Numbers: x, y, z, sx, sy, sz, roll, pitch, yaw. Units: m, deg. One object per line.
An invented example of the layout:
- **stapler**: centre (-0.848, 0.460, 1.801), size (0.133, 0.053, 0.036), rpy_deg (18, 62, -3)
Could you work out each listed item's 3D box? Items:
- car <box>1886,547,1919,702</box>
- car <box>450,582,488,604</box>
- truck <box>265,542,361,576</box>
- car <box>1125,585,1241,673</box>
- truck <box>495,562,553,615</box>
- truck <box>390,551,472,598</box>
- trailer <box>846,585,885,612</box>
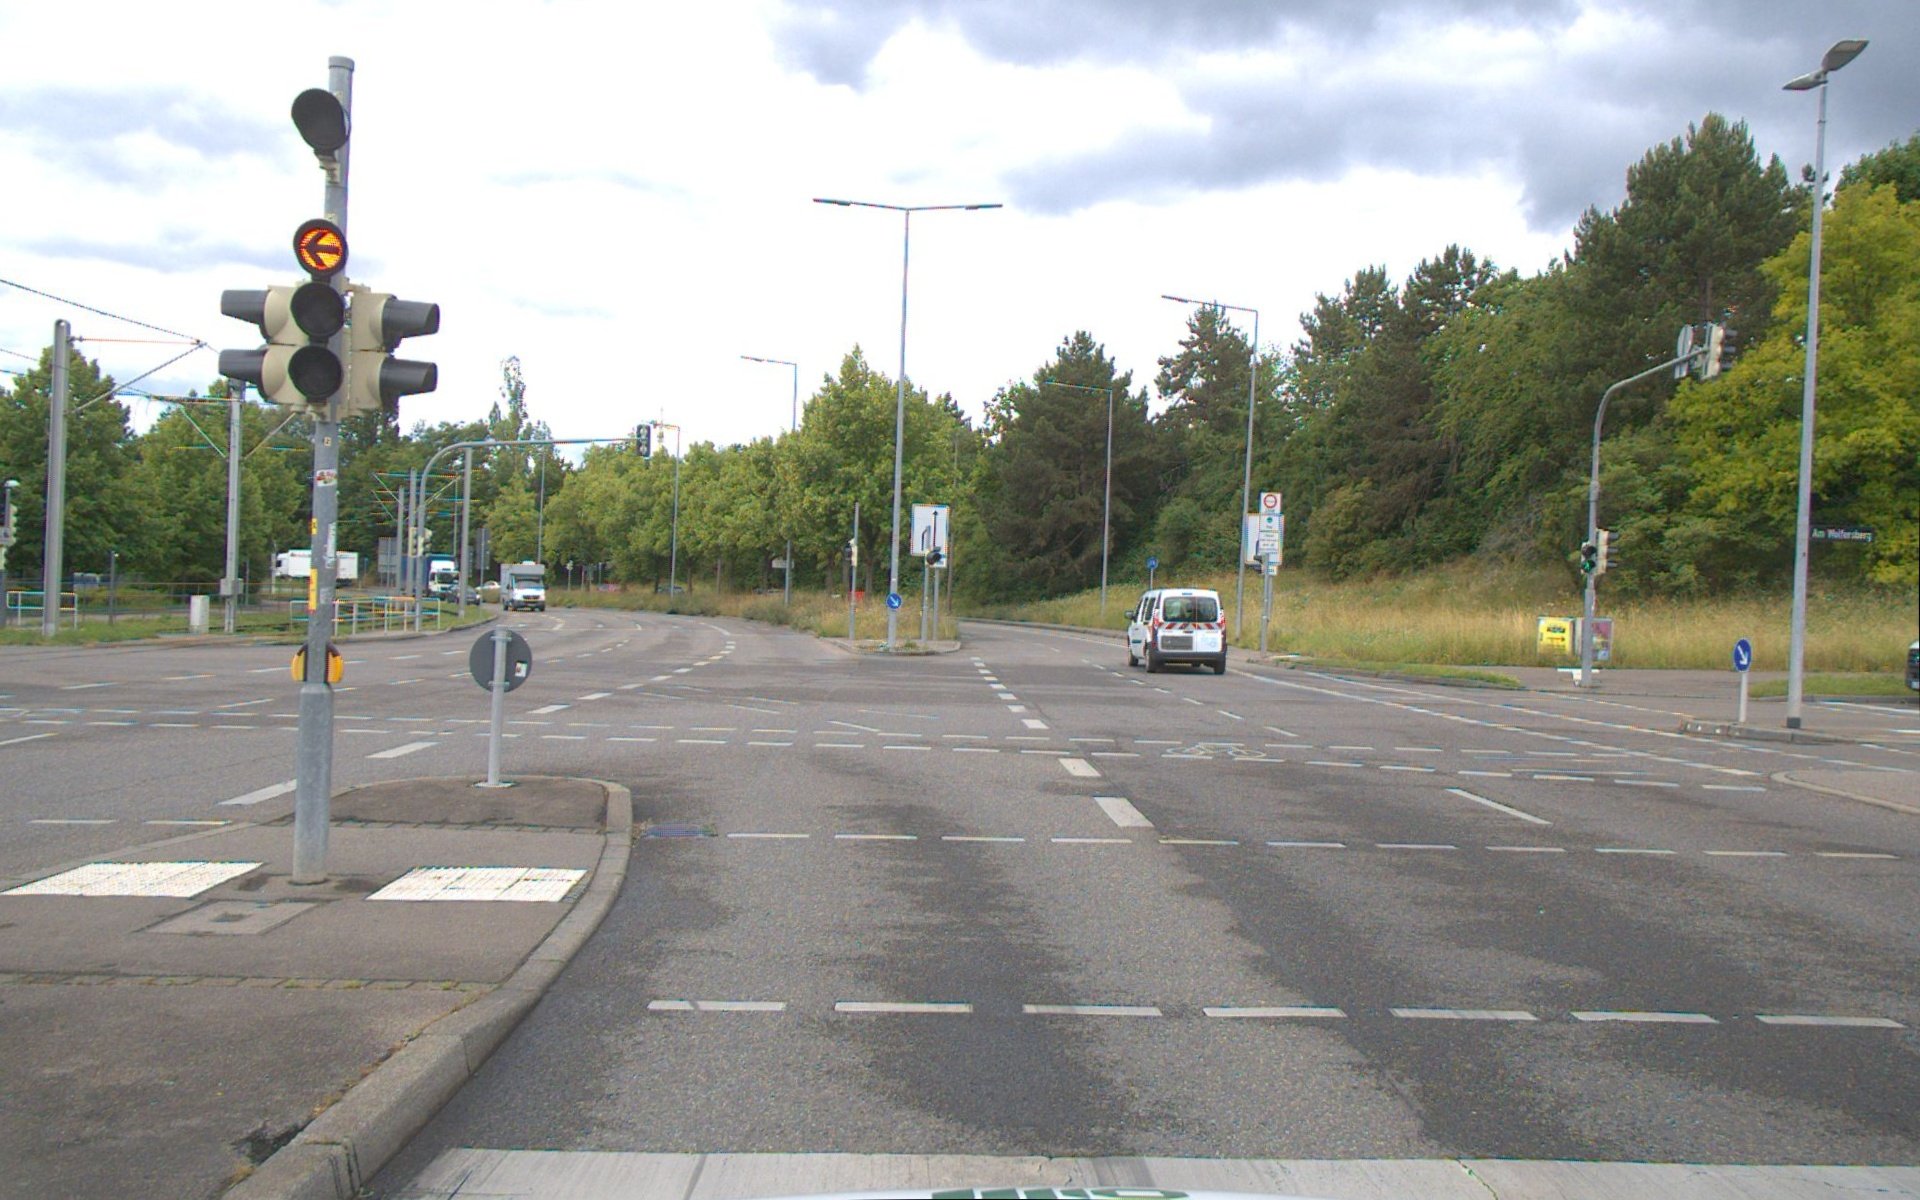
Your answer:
- **car**: centre (20.334, 0.468, 30.093), size (5.772, 2.830, 2.135), rpy_deg (0, 0, -1)
- **car**: centre (-36.958, -0.571, 124.378), size (1.762, 1.471, 4.483), rpy_deg (-1, 3, -30)
- **truck**: centre (-66.899, -4.231, 170.910), size (11.155, 3.387, 2.744), rpy_deg (1, 0, 29)
- **car**: centre (4.958, 0.627, 37.403), size (1.953, 1.833, 4.838), rpy_deg (0, 0, 0)
- **truck**: centre (-27.584, -0.715, 104.463), size (2.093, 3.190, 5.841), rpy_deg (1, 0, -30)
- **truck**: centre (-45.862, -2.184, 143.141), size (3.024, 3.826, 12.652), rpy_deg (1, 0, -35)
- **trailer**: centre (-6.016, -0.110, 105.015), size (1.737, 1.644, 3.029), rpy_deg (1, 0, -17)
